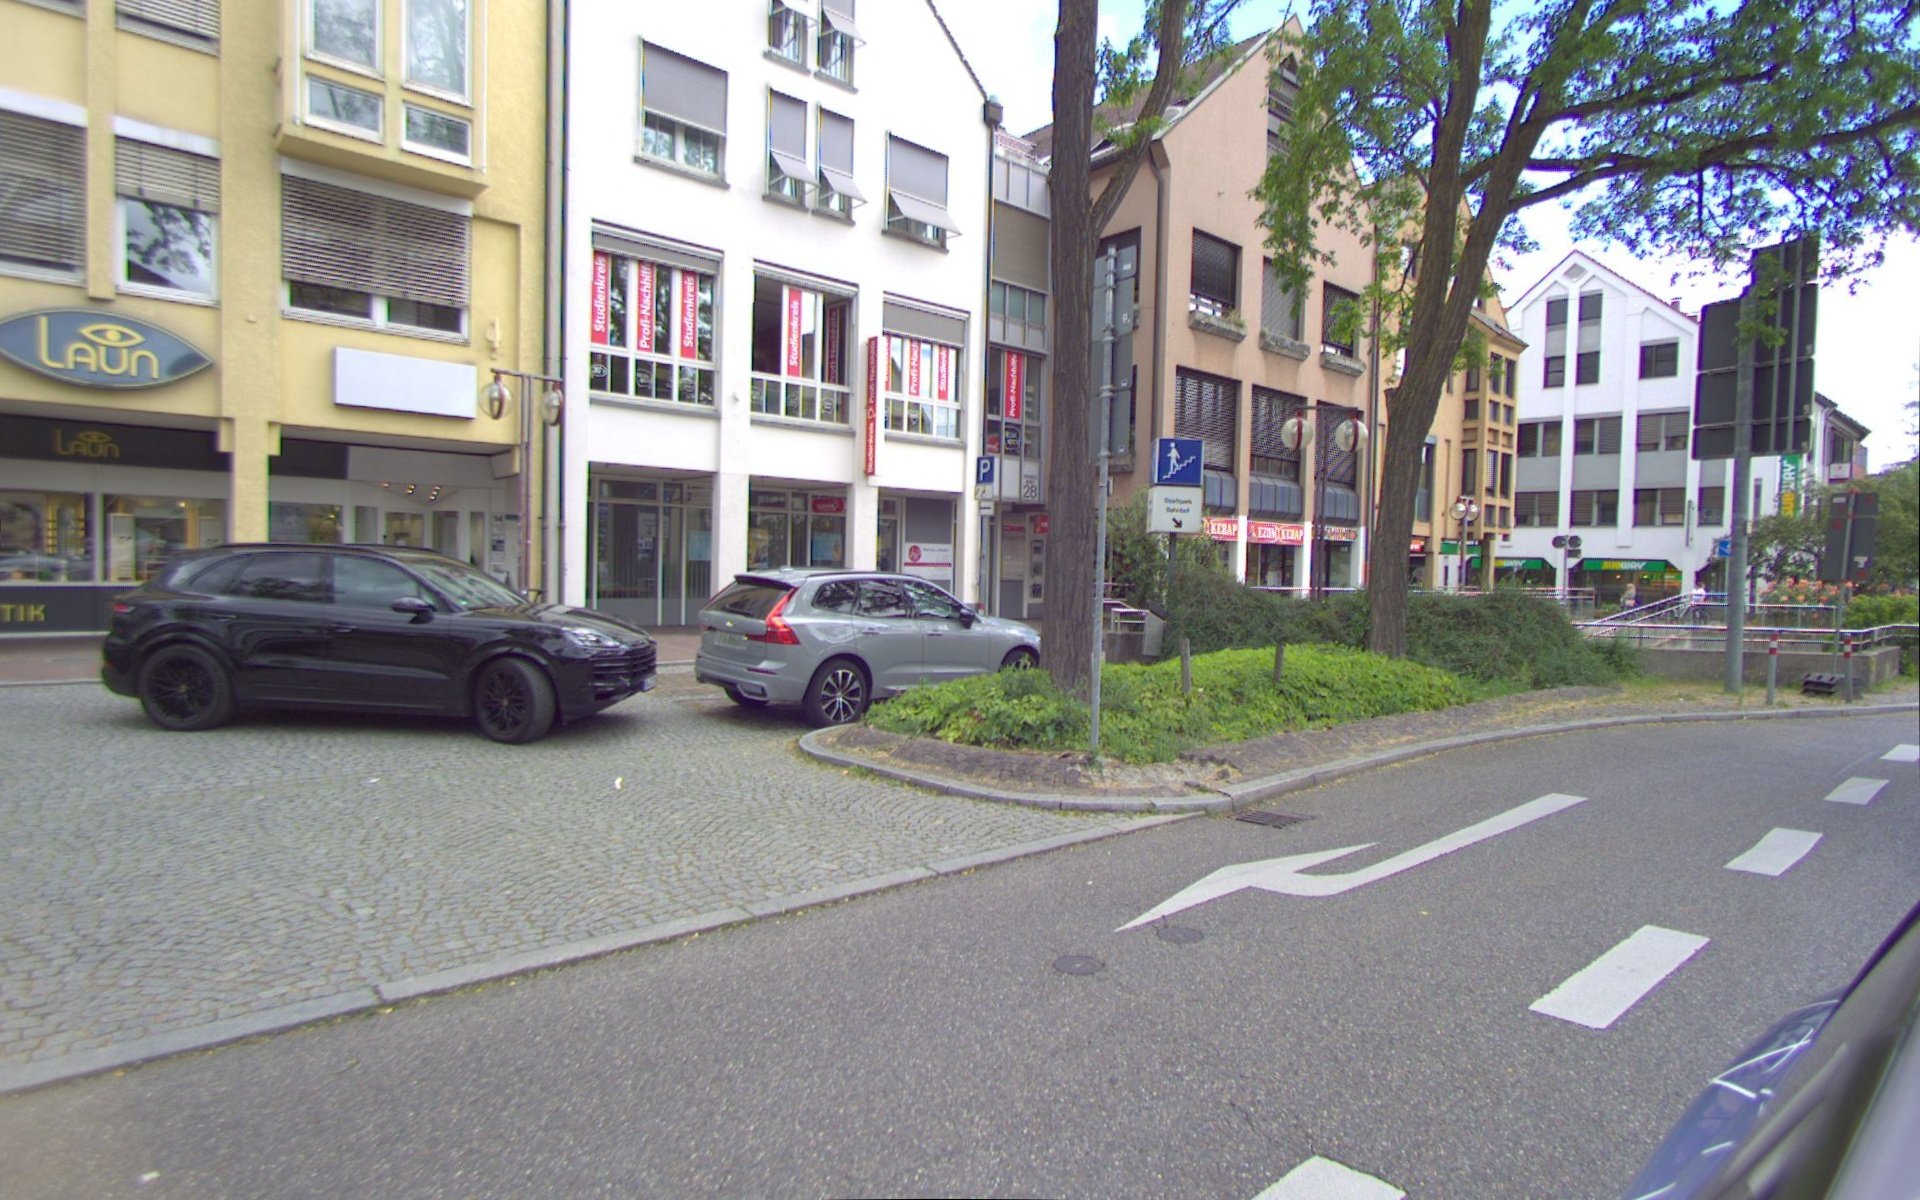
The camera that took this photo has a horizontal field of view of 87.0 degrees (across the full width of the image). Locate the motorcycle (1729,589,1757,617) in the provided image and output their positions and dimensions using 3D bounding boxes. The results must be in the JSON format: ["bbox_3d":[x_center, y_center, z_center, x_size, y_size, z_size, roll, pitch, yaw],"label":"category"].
[{"bbox_3d":[30.649,0.103,39.589,1.961,1.081,0.464,0,2,-41],"label":"motorcycle"}]

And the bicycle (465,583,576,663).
[{"bbox_3d":[-6.098,0.306,14.080,1.355,1.057,0.393,0,2,-41],"label":"bicycle"}]

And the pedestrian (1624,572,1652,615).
[{"bbox_3d":[28.981,-0.286,43.248,0.882,1.779,0.931,2,2,38],"label":"pedestrian"}]

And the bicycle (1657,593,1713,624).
[{"bbox_3d":[25.862,0.286,36.111,1.584,1.014,0.409,2,2,37],"label":"bicycle"}]

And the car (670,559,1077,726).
[{"bbox_3d":[-0.872,0.372,12.238,4.685,1.615,1.996,0,2,-44],"label":"car"}]

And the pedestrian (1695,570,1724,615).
[{"bbox_3d":[31.286,-0.317,42.244,0.772,1.846,0.869,0,0,-44],"label":"pedestrian"}]

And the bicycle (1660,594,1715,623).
[{"bbox_3d":[26.321,0.303,36.651,1.584,0.981,0.455,2,2,36],"label":"bicycle"}]

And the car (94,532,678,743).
[{"bbox_3d":[-5.275,0.293,9.791,4.573,1.690,1.860,2,2,-2],"label":"car"}]
